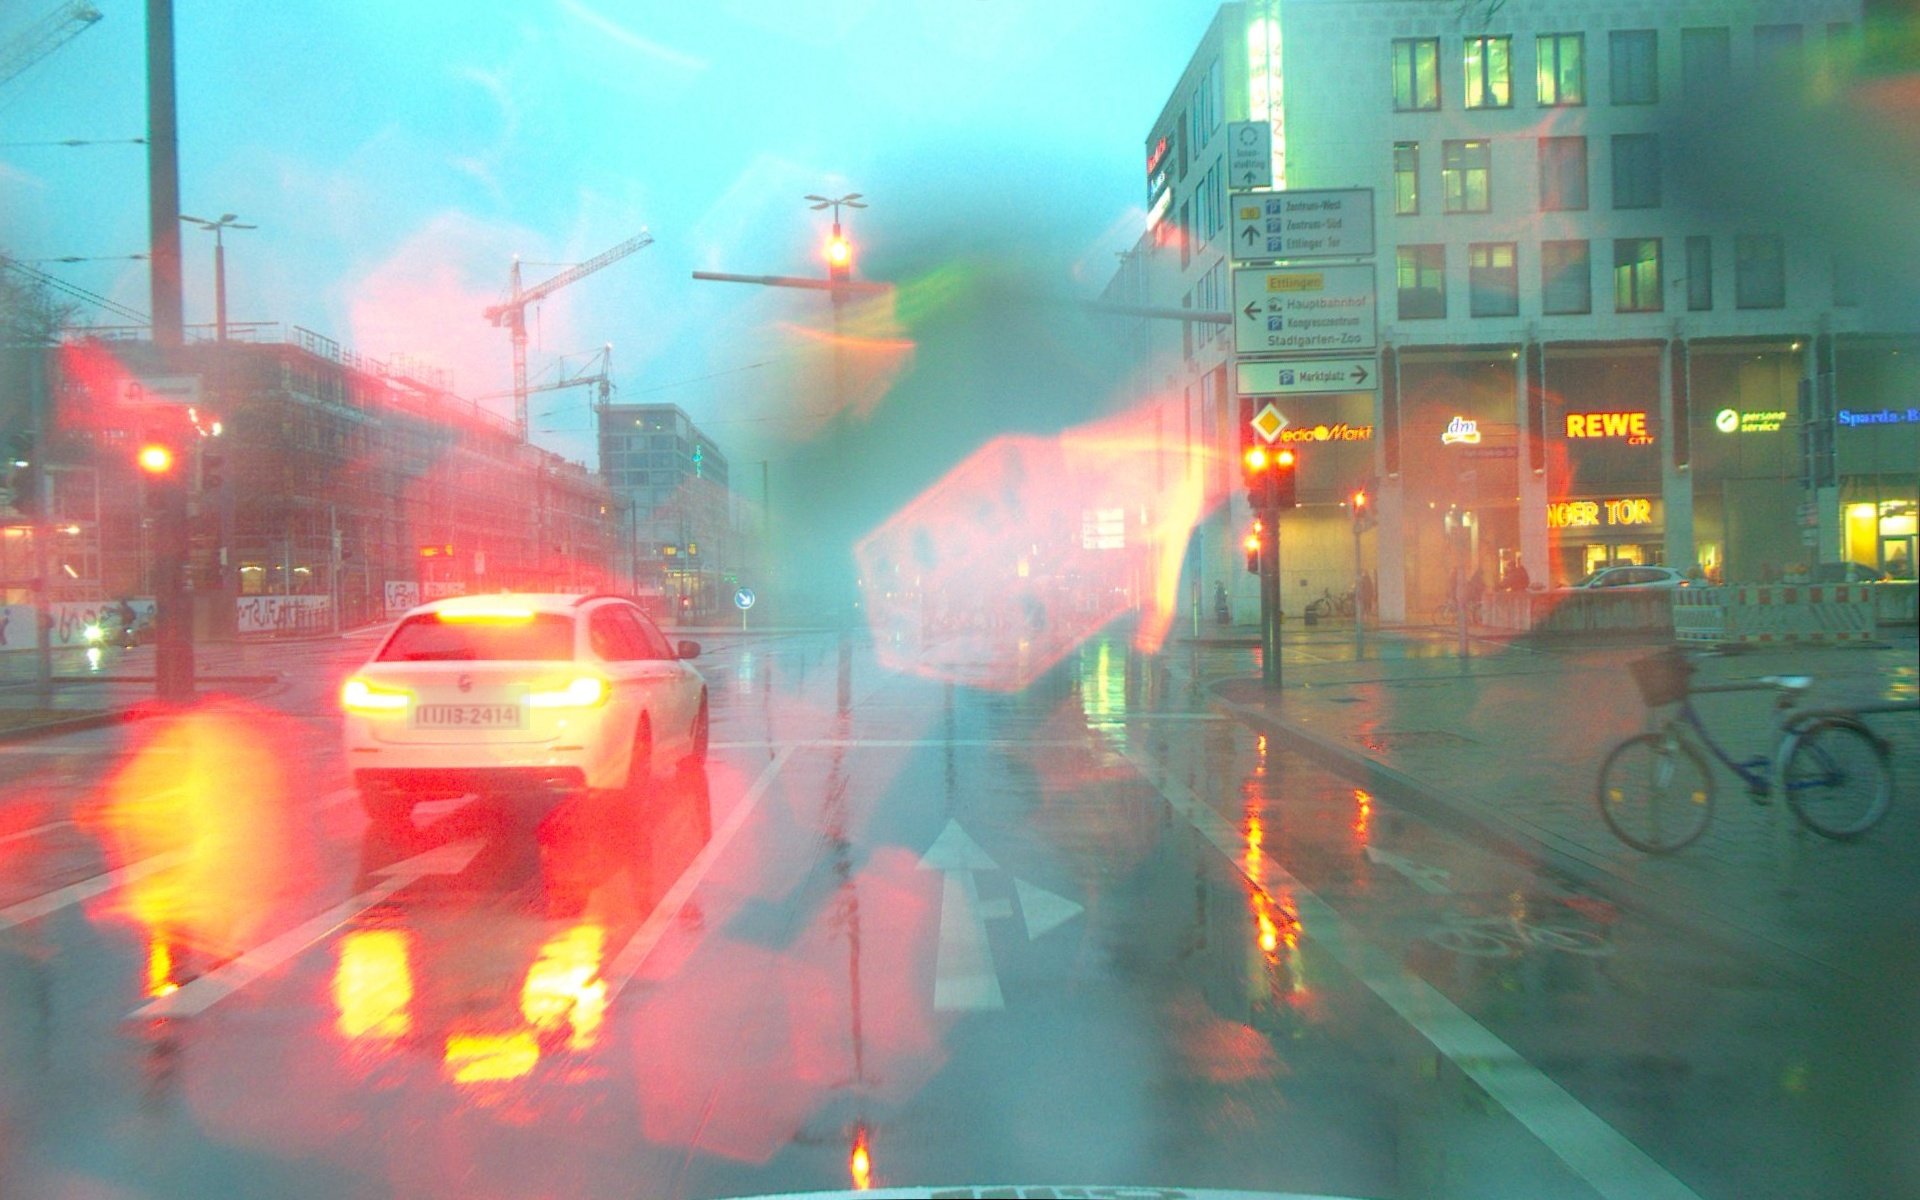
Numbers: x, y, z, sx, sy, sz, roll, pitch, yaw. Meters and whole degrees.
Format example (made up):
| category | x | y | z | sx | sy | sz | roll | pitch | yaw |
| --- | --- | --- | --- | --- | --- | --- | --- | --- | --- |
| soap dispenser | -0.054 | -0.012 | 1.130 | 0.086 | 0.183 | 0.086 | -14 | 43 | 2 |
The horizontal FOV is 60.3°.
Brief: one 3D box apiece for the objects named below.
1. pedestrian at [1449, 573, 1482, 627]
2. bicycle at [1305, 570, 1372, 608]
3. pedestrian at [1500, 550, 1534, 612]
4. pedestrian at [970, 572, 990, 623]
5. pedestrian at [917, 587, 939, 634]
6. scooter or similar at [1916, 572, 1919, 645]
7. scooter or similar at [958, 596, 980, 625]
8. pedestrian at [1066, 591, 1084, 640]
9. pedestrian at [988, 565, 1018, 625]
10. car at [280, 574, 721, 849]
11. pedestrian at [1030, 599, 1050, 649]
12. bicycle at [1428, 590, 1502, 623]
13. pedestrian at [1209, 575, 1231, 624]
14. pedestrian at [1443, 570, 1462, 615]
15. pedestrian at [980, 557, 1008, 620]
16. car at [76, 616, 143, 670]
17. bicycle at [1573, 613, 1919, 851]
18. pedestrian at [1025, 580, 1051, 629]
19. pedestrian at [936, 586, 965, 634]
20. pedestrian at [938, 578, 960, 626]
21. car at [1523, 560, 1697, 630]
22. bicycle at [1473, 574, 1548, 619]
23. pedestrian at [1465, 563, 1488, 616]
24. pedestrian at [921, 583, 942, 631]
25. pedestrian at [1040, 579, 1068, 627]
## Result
| category | x | y | z | sx | sy | sz | roll | pitch | yaw |
| --- | --- | --- | --- | --- | --- | --- | --- | --- | --- |
| pedestrian | 15.429 | -0.006 | 50.462 | 0.798 | 1.597 | 0.536 | -2 | 0 | -1 |
| bicycle | 14.239 | -0.409 | 62.219 | 2.377 | 1.352 | 0.634 | -1 | 0 | -5 |
| pedestrian | 14.768 | -0.506 | 43.871 | 0.764 | 1.623 | 0.613 | -2 | 0 | 16 |
| pedestrian | 0.716 | -0.082 | 58.658 | 0.607 | 1.776 | 0.612 | -2 | 0 | -5 |
| pedestrian | -1.126 | 0.376 | 58.627 | 0.692 | 1.647 | 0.680 | -2 | 0 | 2 |
| scooter or similar | 15.382 | 0.123 | 25.465 | 0.593 | 1.150 | 1.235 | -2 | 0 | 1 |
| scooter or similar | 0.327 | 0.380 | 59.875 | 0.725 | 1.010 | 0.401 | -2 | 0 | 4 |
| pedestrian | 4.293 | 0.580 | 61.776 | 0.605 | 1.791 | 0.482 | -2 | 0 | 0 |
| pedestrian | 1.491 | -0.159 | 57.309 | 0.770 | 2.049 | 0.605 | -2 | 0 | -38 |
| car | -3.028 | 0.636 | 12.090 | 1.871 | 1.547 | 4.923 | -2 | 0 | -1 |
| pedestrian | 2.941 | 0.888 | 60.819 | 0.688 | 1.791 | 0.667 | -2 | 0 | 0 |
| bicycle | 15.386 | 0.190 | 50.436 | 2.085 | 1.009 | 0.541 | 0 | -1 | -1 |
| pedestrian | 9.676 | -0.015 | 61.555 | 0.688 | 1.791 | 0.652 | -2 | 0 | 0 |
| pedestrian | 19.414 | -0.285 | 65.182 | 0.526 | 1.748 | 0.500 | -2 | 0 | 38 |
| pedestrian | 1.172 | -0.381 | 56.358 | 0.681 | 2.124 | 0.604 | -2 | 0 | -40 |
| car | -34.589 | 1.722 | 67.349 | 1.728 | 2.049 | 3.980 | -2 | 0 | -18 |
| bicycle | 4.337 | 0.708 | 9.124 | 1.716 | 1.168 | 0.435 | -3 | 0 | -4 |
| pedestrian | 2.779 | 0.146 | 59.072 | 0.814 | 1.709 | 0.619 | -2 | 0 | -3 |
| pedestrian | -0.322 | 0.366 | 57.655 | 0.803 | 1.647 | 0.537 | -2 | 0 | 38 |
| pedestrian | -0.410 | 0.074 | 59.933 | 0.725 | 1.696 | 0.401 | -2 | 0 | 4 |
| car | 18.219 | -0.145 | 46.507 | 4.212 | 1.792 | 1.708 | -2 | 0 | 3 |
| bicycle | 14.607 | -0.091 | 43.920 | 1.806 | 1.112 | 0.618 | -2 | 0 | 16 |
| pedestrian | 16.927 | -0.330 | 54.182 | 0.526 | 1.714 | 0.546 | -2 | 0 | 38 |
| pedestrian | -0.980 | 0.235 | 57.108 | 0.692 | 1.647 | 0.613 | -2 | 0 | -2 |
| pedestrian | 3.407 | 0.107 | 60.064 | 0.829 | 1.718 | 0.674 | -2 | 0 | -15 |
